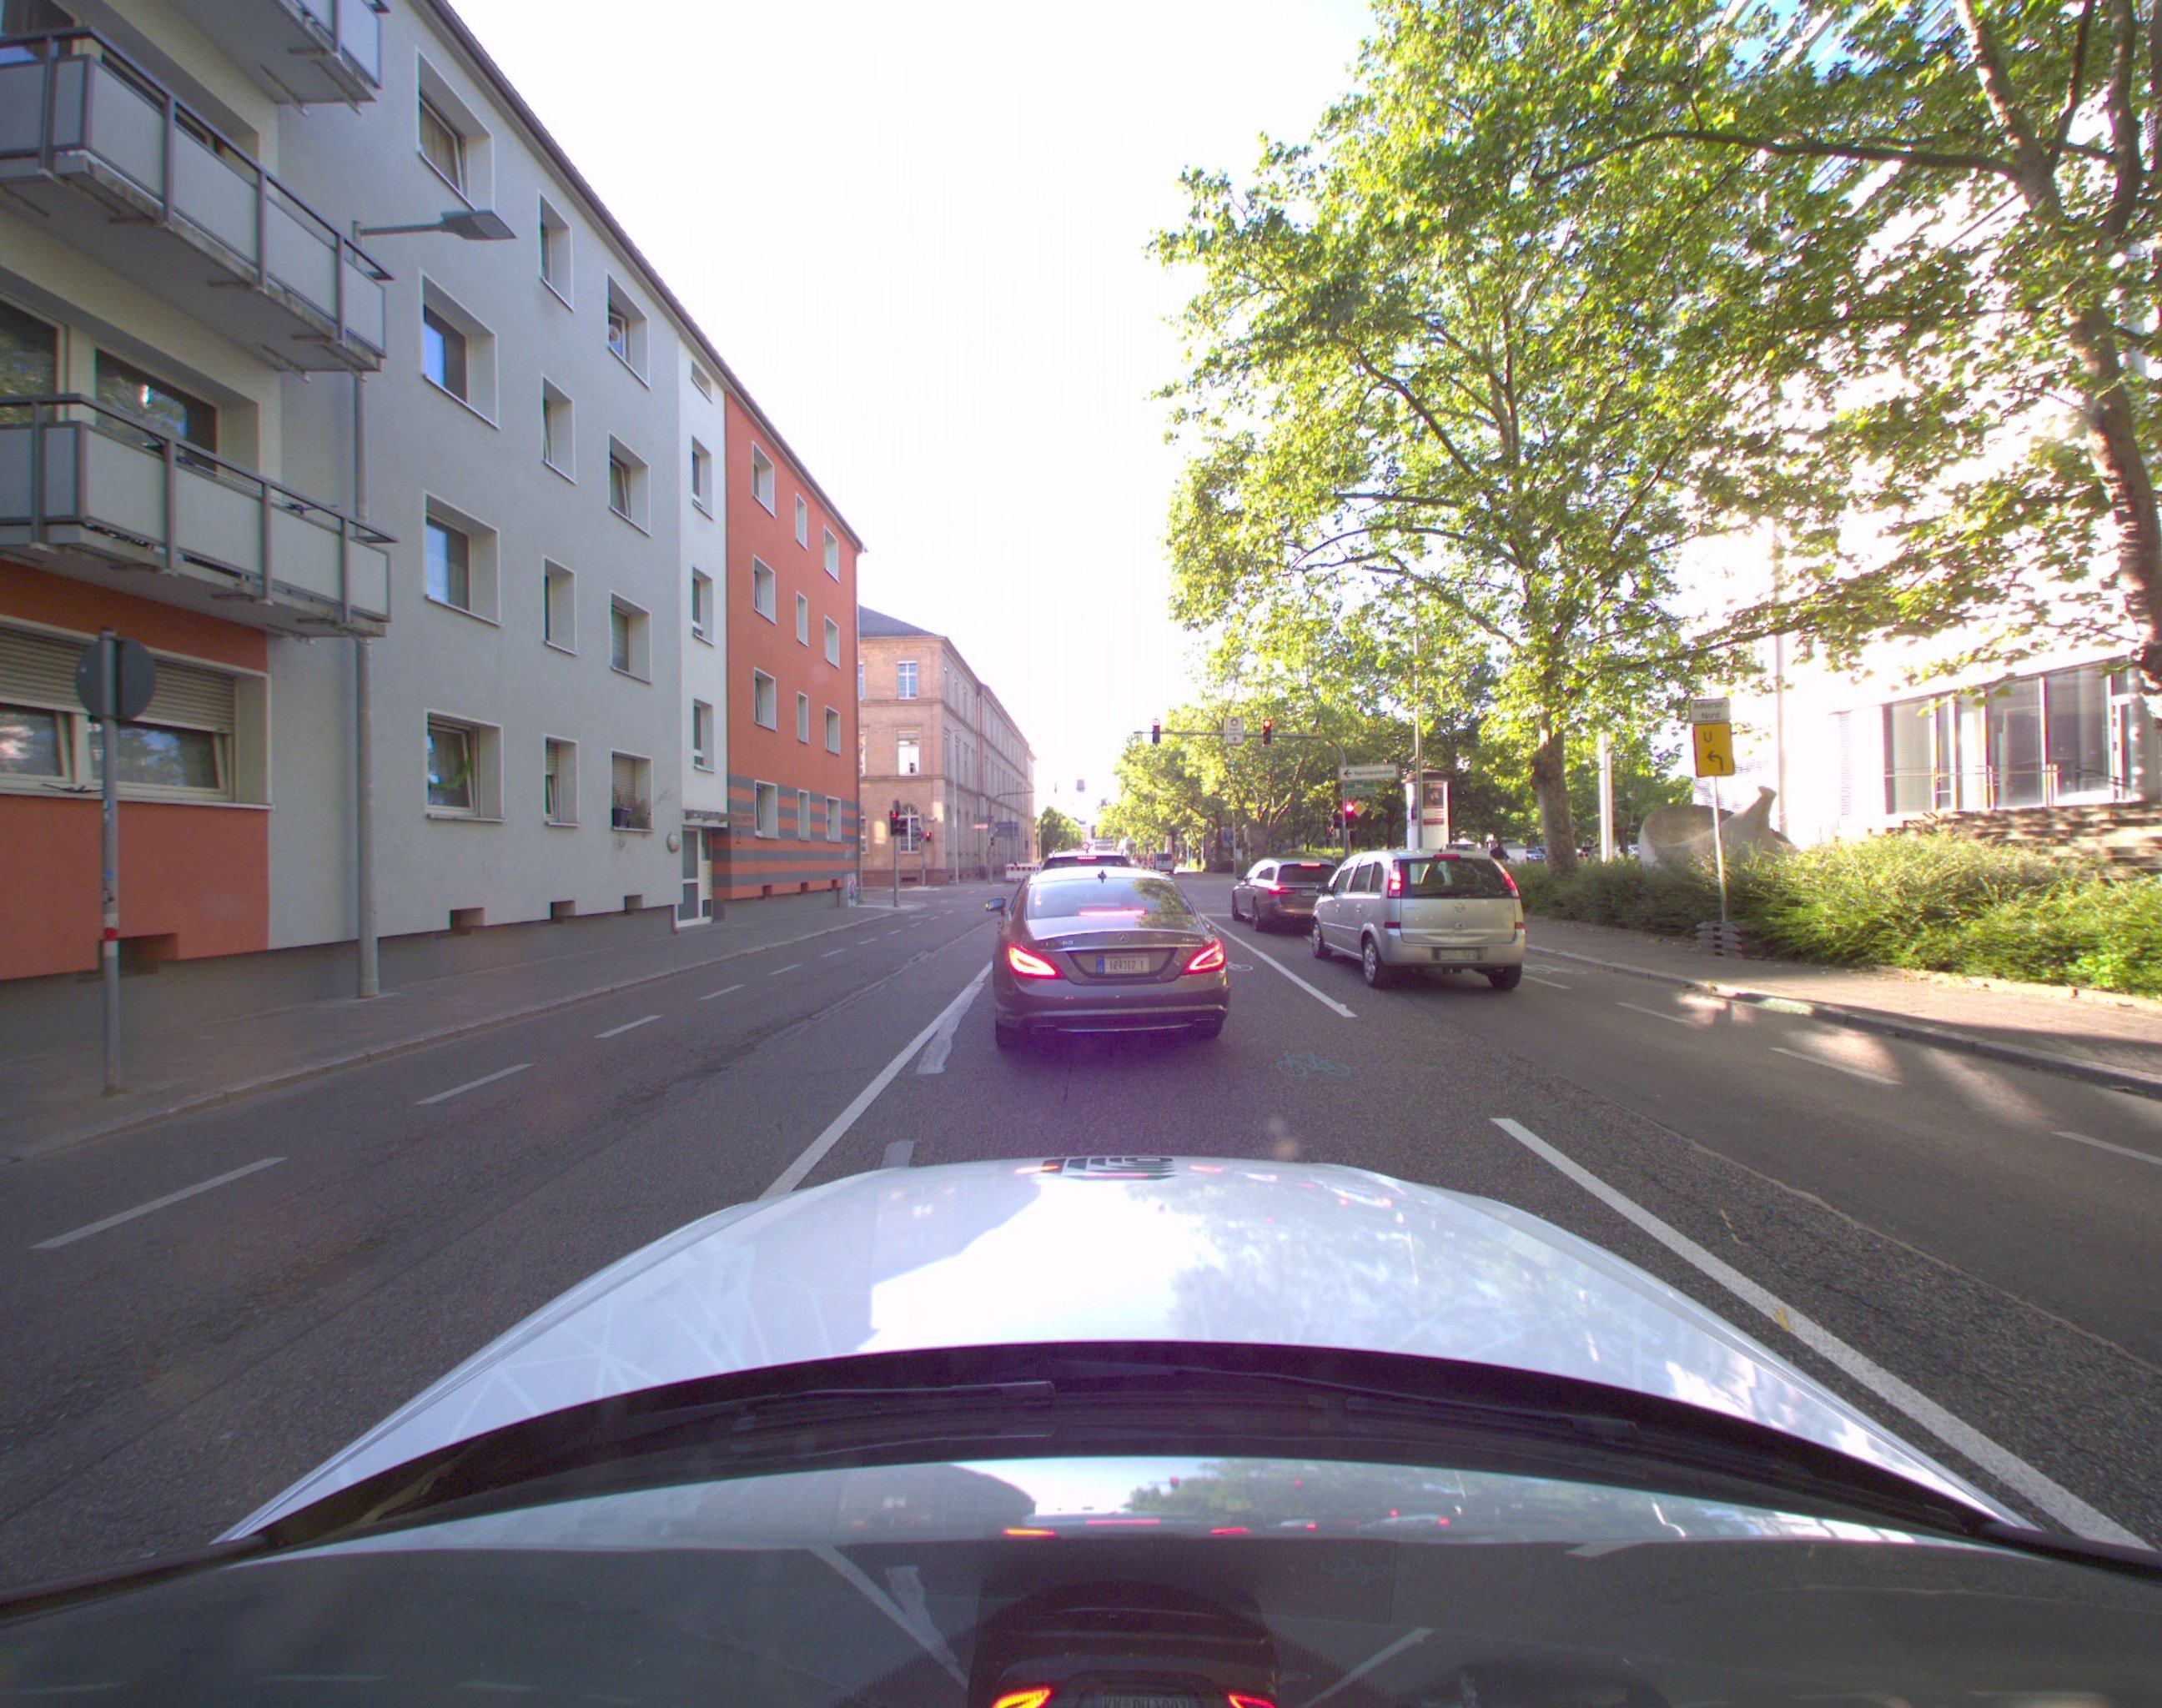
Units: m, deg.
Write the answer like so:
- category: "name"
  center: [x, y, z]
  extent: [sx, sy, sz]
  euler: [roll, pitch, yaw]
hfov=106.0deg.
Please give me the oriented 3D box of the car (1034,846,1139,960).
- category: "car"
  center: [0.073, 0.711, 13.793]
  extent: [1.513, 1.647, 3.879]
  euler: [-1, 0, 0]

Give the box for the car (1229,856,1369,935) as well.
- category: "car"
  center: [4.466, 0.775, 17.468]
  extent: [1.905, 1.464, 4.671]
  euler: [0, 0, 2]

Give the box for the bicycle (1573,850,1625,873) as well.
- category: "bicycle"
  center: [24.171, 0.329, 37.994]
  extent: [1.972, 1.027, 0.652]
  euler: [-1, 0, 2]

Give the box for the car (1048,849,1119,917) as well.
- category: "car"
  center: [0.129, 0.769, 23.378]
  extent: [1.813, 1.762, 4.002]
  euler: [-1, 0, 2]

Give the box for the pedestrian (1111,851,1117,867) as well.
- category: "pedestrian"
  center: [4.420, 0.649, 108.168]
  extent: [0.722, 2.014, 0.748]
  euler: [-1, 0, -2]

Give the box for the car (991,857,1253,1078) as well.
- category: "car"
  center: [0.105, 0.777, 7.776]
  extent: [1.801, 1.456, 4.342]
  euler: [-1, 0, -5]

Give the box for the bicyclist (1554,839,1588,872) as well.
- category: "bicyclist"
  center: [22.338, 0.072, 37.149]
  extent: [1.113, 1.490, 0.712]
  euler: [-1, 0, 1]

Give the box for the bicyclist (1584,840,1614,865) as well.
- category: "bicyclist"
  center: [24.177, -0.055, 37.999]
  extent: [0.987, 1.154, 0.621]
  euler: [-1, 0, 3]

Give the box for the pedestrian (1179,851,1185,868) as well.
- category: "pedestrian"
  center: [11.201, 0.636, 90.388]
  extent: [0.601, 1.821, 0.652]
  euler: [-1, 0, 1]

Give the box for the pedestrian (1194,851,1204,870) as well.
- category: "pedestrian"
  center: [10.475, 0.571, 72.387]
  extent: [0.827, 1.606, 0.652]
  euler: [-1, 0, 1]

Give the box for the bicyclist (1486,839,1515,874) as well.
- category: "bicyclist"
  center: [19.708, 0.123, 38.273]
  extent: [1.013, 1.642, 0.607]
  euler: [-1, 0, -4]

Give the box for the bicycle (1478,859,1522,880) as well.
- category: "bicycle"
  center: [19.691, 0.723, 38.267]
  extent: [1.791, 0.946, 0.613]
  euler: [-1, 0, -5]

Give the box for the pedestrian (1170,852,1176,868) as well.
- category: "pedestrian"
  center: [10.280, 0.663, 90.664]
  extent: [0.601, 1.821, 0.652]
  euler: [-1, 0, 1]

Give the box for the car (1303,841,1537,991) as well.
- category: "car"
  center: [4.184, 0.676, 10.736]
  extent: [1.694, 1.603, 3.863]
  euler: [-1, 0, 4]

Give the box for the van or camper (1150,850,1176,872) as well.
- category: "van or camper"
  center: [7.394, 0.634, 73.935]
  extent: [1.986, 1.941, 4.596]
  euler: [-1, 0, 2]
